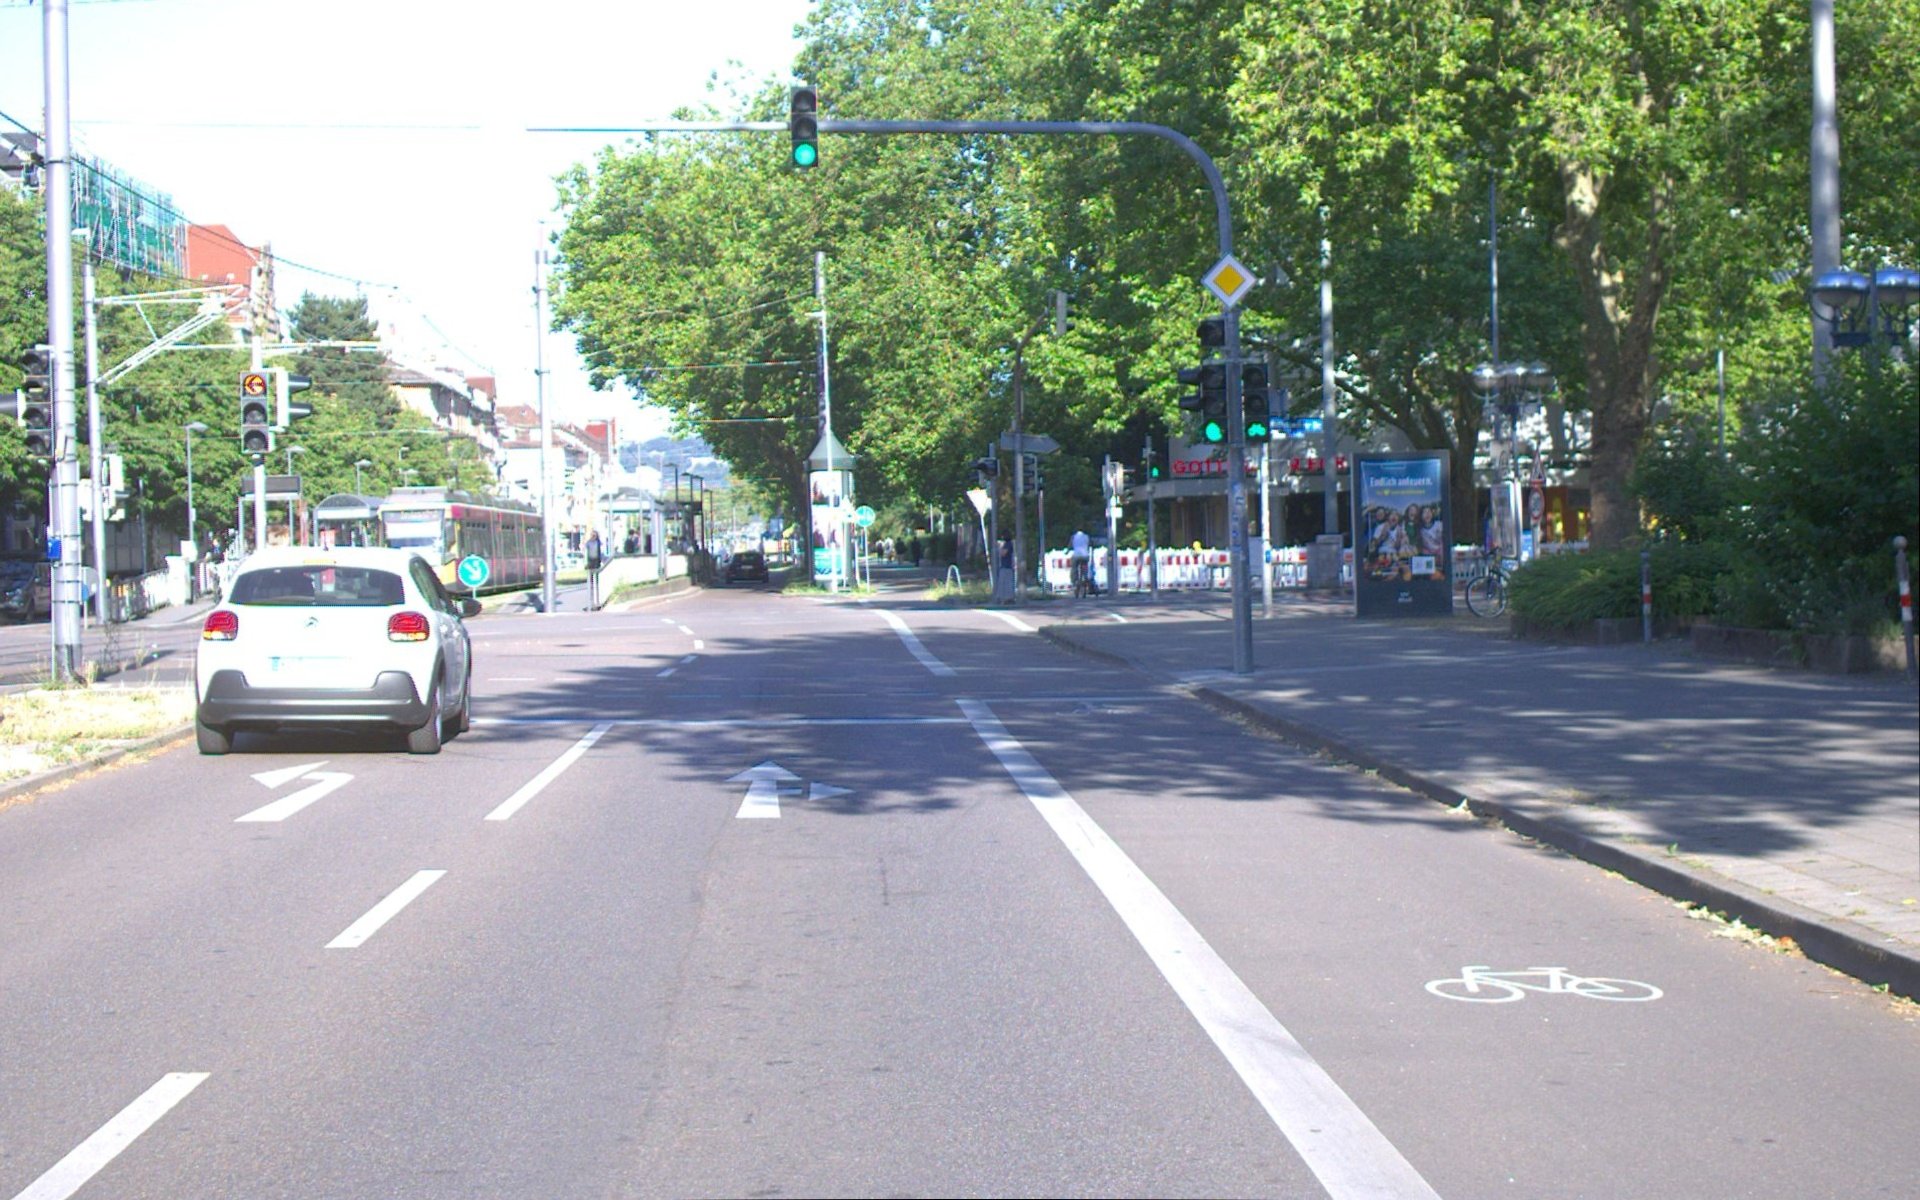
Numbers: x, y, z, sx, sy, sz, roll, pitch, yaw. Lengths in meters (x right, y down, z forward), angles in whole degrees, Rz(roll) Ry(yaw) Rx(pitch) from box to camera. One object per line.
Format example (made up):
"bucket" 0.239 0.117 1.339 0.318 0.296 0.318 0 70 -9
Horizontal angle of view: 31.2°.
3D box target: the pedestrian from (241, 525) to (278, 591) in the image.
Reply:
"pedestrian" -19.862 -1.195 97.471 0.962 1.827 0.990 1 1 -8

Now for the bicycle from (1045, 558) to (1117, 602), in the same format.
"bicycle" 2.706 -0.464 77.358 1.198 0.931 2.575 1 1 -8

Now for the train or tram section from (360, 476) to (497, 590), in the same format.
"train or tram section" -16.748 -2.121 109.003 2.952 3.398 10.792 1 1 -2

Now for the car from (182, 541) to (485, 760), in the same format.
"car" -4.555 0.319 25.443 1.745 1.457 3.645 1 1 -3

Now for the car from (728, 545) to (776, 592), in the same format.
"car" -9.318 -1.428 154.172 1.993 2.007 4.001 1 1 -2

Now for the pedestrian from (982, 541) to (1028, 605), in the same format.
"pedestrian" 0.986 -0.594 74.787 0.660 1.383 0.831 1 1 30

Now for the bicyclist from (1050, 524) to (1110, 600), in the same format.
"bicyclist" 2.702 -0.853 77.398 1.198 1.691 0.904 1 1 -8
